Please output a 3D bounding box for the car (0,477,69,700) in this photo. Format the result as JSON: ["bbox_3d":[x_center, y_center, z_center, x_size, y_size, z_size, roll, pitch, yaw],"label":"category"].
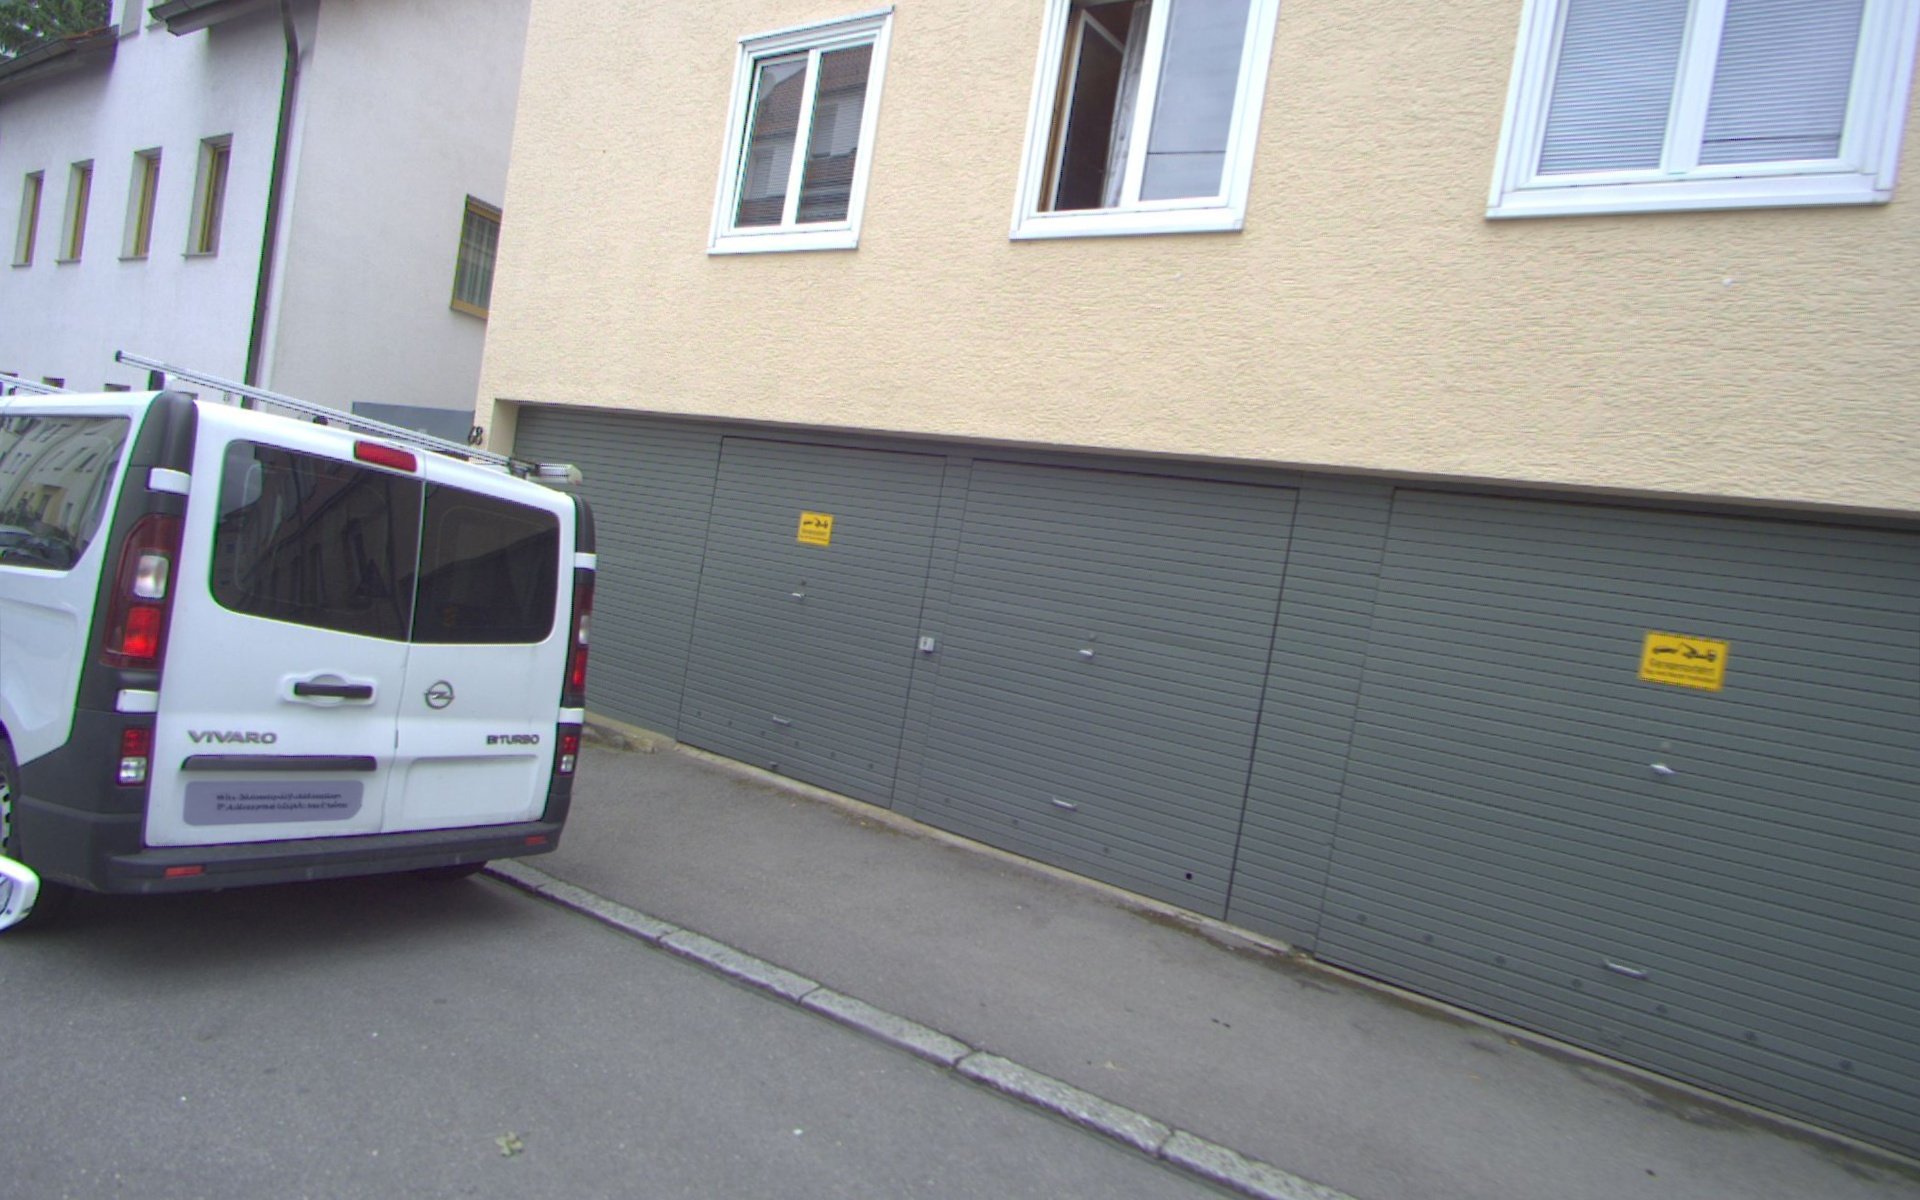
[{"bbox_3d":[-8.366,-0.284,7.692,2.745,1.615,1.489,8,-1,32],"label":"car"}]

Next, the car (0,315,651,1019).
[{"bbox_3d":[-4.404,-0.038,5.203,5.637,2.053,1.909,8,-1,32],"label":"car"}]
